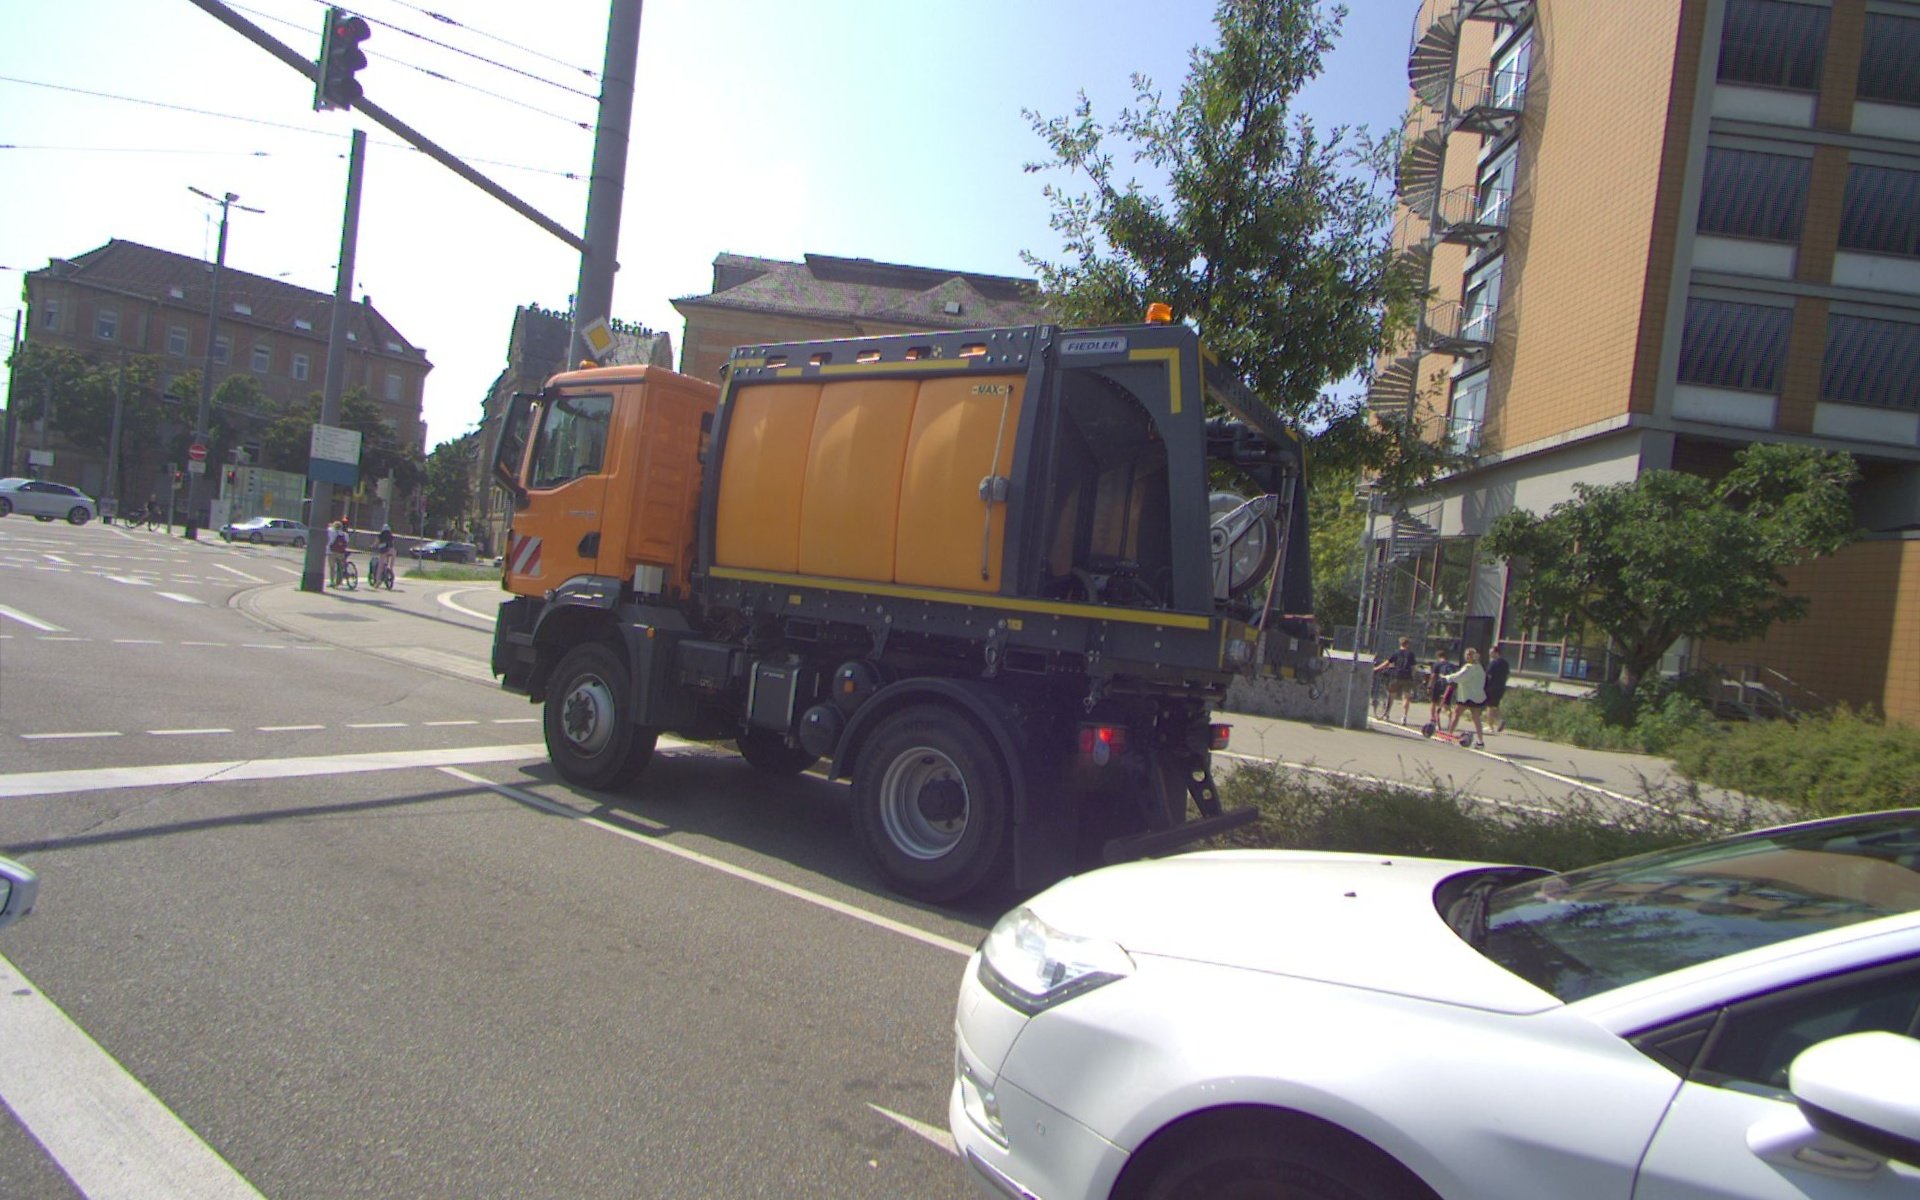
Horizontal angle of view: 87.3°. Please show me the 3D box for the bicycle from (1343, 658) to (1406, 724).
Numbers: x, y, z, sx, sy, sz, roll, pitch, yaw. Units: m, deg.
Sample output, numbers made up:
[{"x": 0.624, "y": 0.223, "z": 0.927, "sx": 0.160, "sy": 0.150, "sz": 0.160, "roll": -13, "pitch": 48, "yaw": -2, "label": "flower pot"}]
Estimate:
[{"x": 9.027, "y": 1.955, "z": 21.977, "sx": 0.474, "sy": 1.227, "sz": 1.847, "roll": 6, "pitch": 0, "yaw": -1, "label": "bicycle"}]

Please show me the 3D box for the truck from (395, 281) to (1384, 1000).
[{"x": -0.917, "y": -0.029, "z": 7.323, "sx": 6.750, "sy": 3.171, "sz": 2.495, "roll": 7, "pitch": -1, "yaw": 34, "label": "truck"}]

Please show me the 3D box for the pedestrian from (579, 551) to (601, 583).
[{"x": -15.393, "y": -1.371, "z": 41.805, "sx": 0.660, "sy": 1.229, "sz": 0.523, "roll": 6, "pitch": 1, "yaw": -30, "label": "pedestrian"}]

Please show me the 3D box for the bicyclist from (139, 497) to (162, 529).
[{"x": -41.129, "y": -4.419, "z": 51.095, "sx": 0.511, "sy": 1.548, "sz": 0.613, "roll": 7, "pitch": 1, "yaw": 8, "label": "bicyclist"}]

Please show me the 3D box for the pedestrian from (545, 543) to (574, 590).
[{"x": -15.728, "y": -1.302, "z": 39.523, "sx": 0.808, "sy": 1.746, "sz": 0.545, "roll": 7, "pitch": 1, "yaw": -10, "label": "pedestrian"}]

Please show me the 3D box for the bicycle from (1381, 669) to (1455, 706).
[{"x": 13.788, "y": 2.617, "z": 30.312, "sx": 1.866, "sy": 0.850, "sz": 0.549, "roll": 7, "pitch": 1, "yaw": 6, "label": "bicycle"}]

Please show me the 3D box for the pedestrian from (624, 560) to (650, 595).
[{"x": -14.145, "y": -0.988, "z": 44.115, "sx": 0.679, "sy": 1.417, "sz": 0.767, "roll": 7, "pitch": 1, "yaw": 6, "label": "pedestrian"}]

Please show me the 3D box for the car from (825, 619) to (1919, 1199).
[{"x": 2.113, "y": 1.045, "z": 1.819, "sx": 4.534, "sy": 1.446, "sz": 1.770, "roll": 7, "pitch": 0, "yaw": 33, "label": "car"}]

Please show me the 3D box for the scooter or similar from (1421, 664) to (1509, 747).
[{"x": 9.038, "y": 1.869, "z": 18.042, "sx": 0.642, "sy": 1.294, "sz": 1.173, "roll": 7, "pitch": -1, "yaw": -18, "label": "scooter or similar"}]

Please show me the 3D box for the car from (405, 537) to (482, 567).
[{"x": -34.087, "y": -3.144, "z": 66.545, "sx": 1.742, "sy": 1.433, "sz": 4.771, "roll": 7, "pitch": 0, "yaw": 12, "label": "car"}]

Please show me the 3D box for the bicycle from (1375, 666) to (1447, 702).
[{"x": 13.896, "y": 2.580, "z": 31.021, "sx": 1.866, "sy": 0.850, "sz": 0.549, "roll": 7, "pitch": 1, "yaw": 6, "label": "bicycle"}]

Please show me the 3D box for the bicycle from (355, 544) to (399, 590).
[{"x": -15.669, "y": -0.892, "z": 27.025, "sx": 1.632, "sy": 1.068, "sz": 0.535, "roll": 7, "pitch": 1, "yaw": 44, "label": "bicycle"}]

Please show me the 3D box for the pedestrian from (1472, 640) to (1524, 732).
[{"x": 11.642, "y": 1.847, "z": 21.793, "sx": 0.617, "sy": 1.895, "sz": 0.837, "roll": 6, "pitch": 1, "yaw": 13, "label": "pedestrian"}]

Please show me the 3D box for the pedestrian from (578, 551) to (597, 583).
[{"x": -19.416, "y": -1.701, "z": 52.442, "sx": 0.727, "sy": 1.595, "sz": 0.787, "roll": 6, "pitch": 1, "yaw": -14, "label": "pedestrian"}]

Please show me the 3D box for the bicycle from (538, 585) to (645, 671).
[{"x": -5.520, "y": 0.408, "z": 15.022, "sx": 1.794, "sy": 1.068, "sz": 0.492, "roll": 7, "pitch": 1, "yaw": 36, "label": "bicycle"}]

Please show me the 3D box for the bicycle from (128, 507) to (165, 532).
[{"x": -41.356, "y": -4.081, "z": 51.125, "sx": 1.622, "sy": 1.068, "sz": 0.471, "roll": 7, "pitch": 1, "yaw": 11, "label": "bicycle"}]

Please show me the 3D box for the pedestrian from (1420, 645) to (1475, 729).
[{"x": 10.541, "y": 1.872, "z": 21.785, "sx": 0.665, "sy": 1.695, "sz": 0.837, "roll": 6, "pitch": 1, "yaw": 7, "label": "pedestrian"}]

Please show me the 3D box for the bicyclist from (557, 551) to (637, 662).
[{"x": -5.376, "y": 0.102, "z": 14.918, "sx": 0.653, "sy": 1.537, "sz": 0.734, "roll": 7, "pitch": 1, "yaw": 36, "label": "bicyclist"}]

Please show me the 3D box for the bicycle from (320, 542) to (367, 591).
[{"x": -15.258, "y": -0.838, "z": 24.884, "sx": 1.632, "sy": 1.068, "sz": 0.535, "roll": 7, "pitch": 1, "yaw": 44, "label": "bicycle"}]

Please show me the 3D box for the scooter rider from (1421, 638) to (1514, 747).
[{"x": 9.100, "y": 1.641, "z": 18.062, "sx": 0.848, "sy": 1.779, "sz": 1.036, "roll": 7, "pitch": -1, "yaw": -19, "label": "scooter rider"}]

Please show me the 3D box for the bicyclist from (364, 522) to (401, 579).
[{"x": -15.356, "y": -1.321, "z": 26.746, "sx": 0.882, "sy": 1.410, "sz": 0.529, "roll": 7, "pitch": 1, "yaw": 44, "label": "bicyclist"}]

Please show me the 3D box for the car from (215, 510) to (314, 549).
[{"x": -36.280, "y": -3.650, "z": 52.613, "sx": 1.742, "sy": 1.433, "sz": 4.190, "roll": 7, "pitch": 0, "yaw": 10, "label": "car"}]

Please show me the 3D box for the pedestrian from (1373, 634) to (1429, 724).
[{"x": 9.626, "y": 1.706, "z": 21.990, "sx": 0.665, "sy": 1.862, "sz": 0.837, "roll": 6, "pitch": 1, "yaw": 1, "label": "pedestrian"}]

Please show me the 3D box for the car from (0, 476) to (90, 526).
[{"x": -38.120, "y": -4.098, "z": 40.581, "sx": 1.721, "sy": 1.638, "sz": 4.338, "roll": 7, "pitch": 0, "yaw": 12, "label": "car"}]

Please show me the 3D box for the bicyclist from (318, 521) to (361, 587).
[{"x": -15.420, "y": -1.147, "z": 25.011, "sx": 0.702, "sy": 1.537, "sz": 0.626, "roll": 7, "pitch": 1, "yaw": 44, "label": "bicyclist"}]

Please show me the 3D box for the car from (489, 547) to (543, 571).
[{"x": -33.794, "y": -3.107, "z": 76.639, "sx": 1.742, "sy": 1.433, "sz": 4.203, "roll": 7, "pitch": 0, "yaw": 7, "label": "car"}]
